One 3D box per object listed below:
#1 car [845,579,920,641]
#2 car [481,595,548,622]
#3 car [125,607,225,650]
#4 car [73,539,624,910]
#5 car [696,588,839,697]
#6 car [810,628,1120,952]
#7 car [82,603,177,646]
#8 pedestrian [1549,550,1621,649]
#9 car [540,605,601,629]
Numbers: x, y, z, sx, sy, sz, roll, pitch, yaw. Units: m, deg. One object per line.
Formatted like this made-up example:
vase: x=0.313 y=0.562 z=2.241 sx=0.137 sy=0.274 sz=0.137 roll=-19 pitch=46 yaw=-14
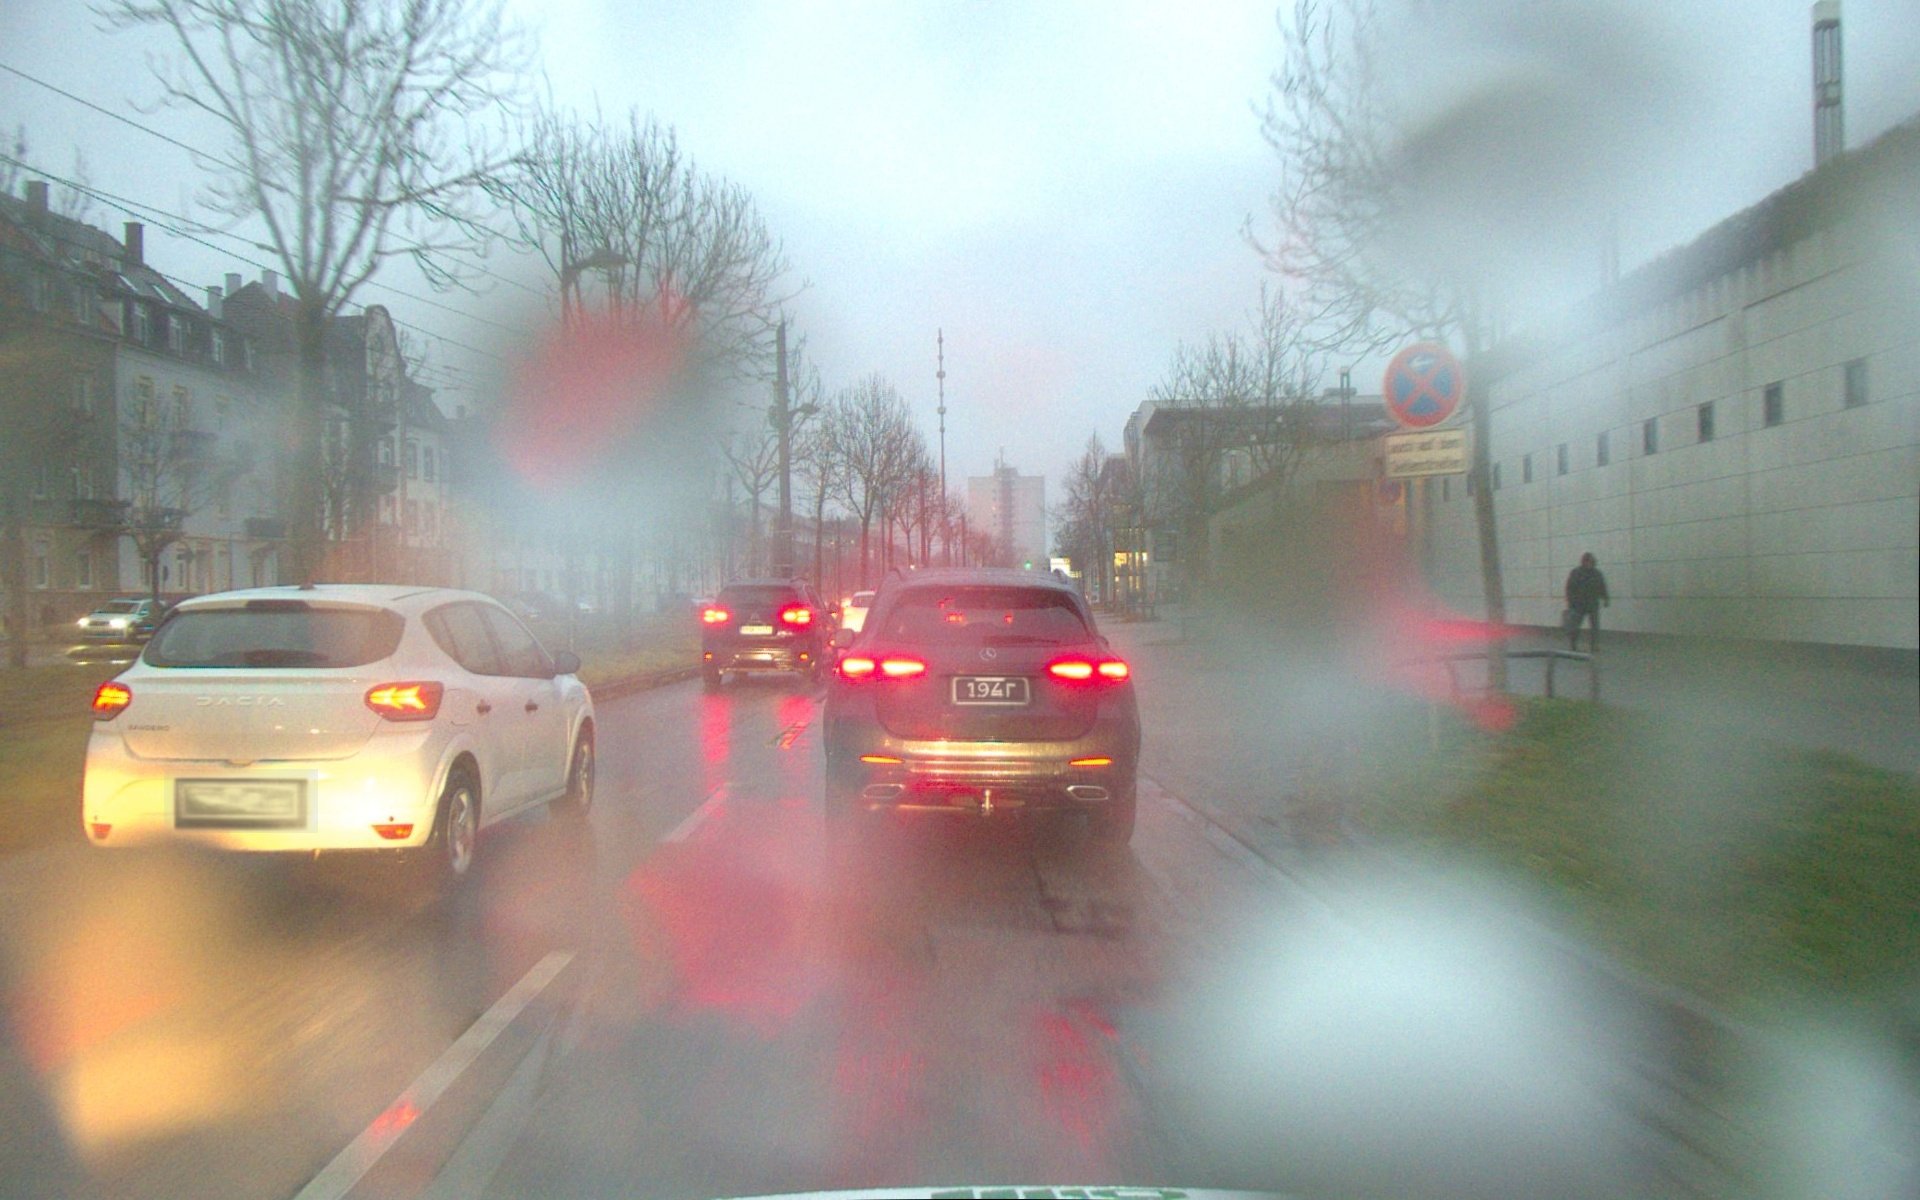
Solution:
car: x=-2.092 y=0.253 z=45.360 sx=1.637 sy=1.628 sz=4.055 roll=0 pitch=0 yaw=3
car: x=-24.446 y=0.490 z=90.824 sx=3.486 sy=1.378 sz=1.775 roll=-1 pitch=1 yaw=37
car: x=-27.817 y=0.994 z=58.738 sx=1.739 sy=1.378 sz=3.558 roll=-1 pitch=0 yaw=2
car: x=-3.104 y=0.544 z=9.318 sx=1.638 sy=1.628 sz=4.053 roll=0 pitch=0 yaw=-1
car: x=-3.047 y=0.632 z=26.879 sx=1.637 sy=1.628 sz=4.055 roll=0 pitch=0 yaw=3
car: x=0.139 y=1.029 z=10.731 sx=1.637 sy=1.628 sz=4.055 roll=0 pitch=0 yaw=3
car: x=-31.781 y=0.911 z=63.400 sx=1.739 sy=1.526 sz=3.558 roll=-1 pitch=0 yaw=2
pedestrian: x=10.641 y=-0.011 z=28.178 sx=0.918 sy=1.646 sz=0.695 roll=-2 pitch=0 yaw=0
car: x=-23.847 y=1.034 z=101.234 sx=3.486 sy=1.378 sz=1.775 roll=-1 pitch=1 yaw=37
